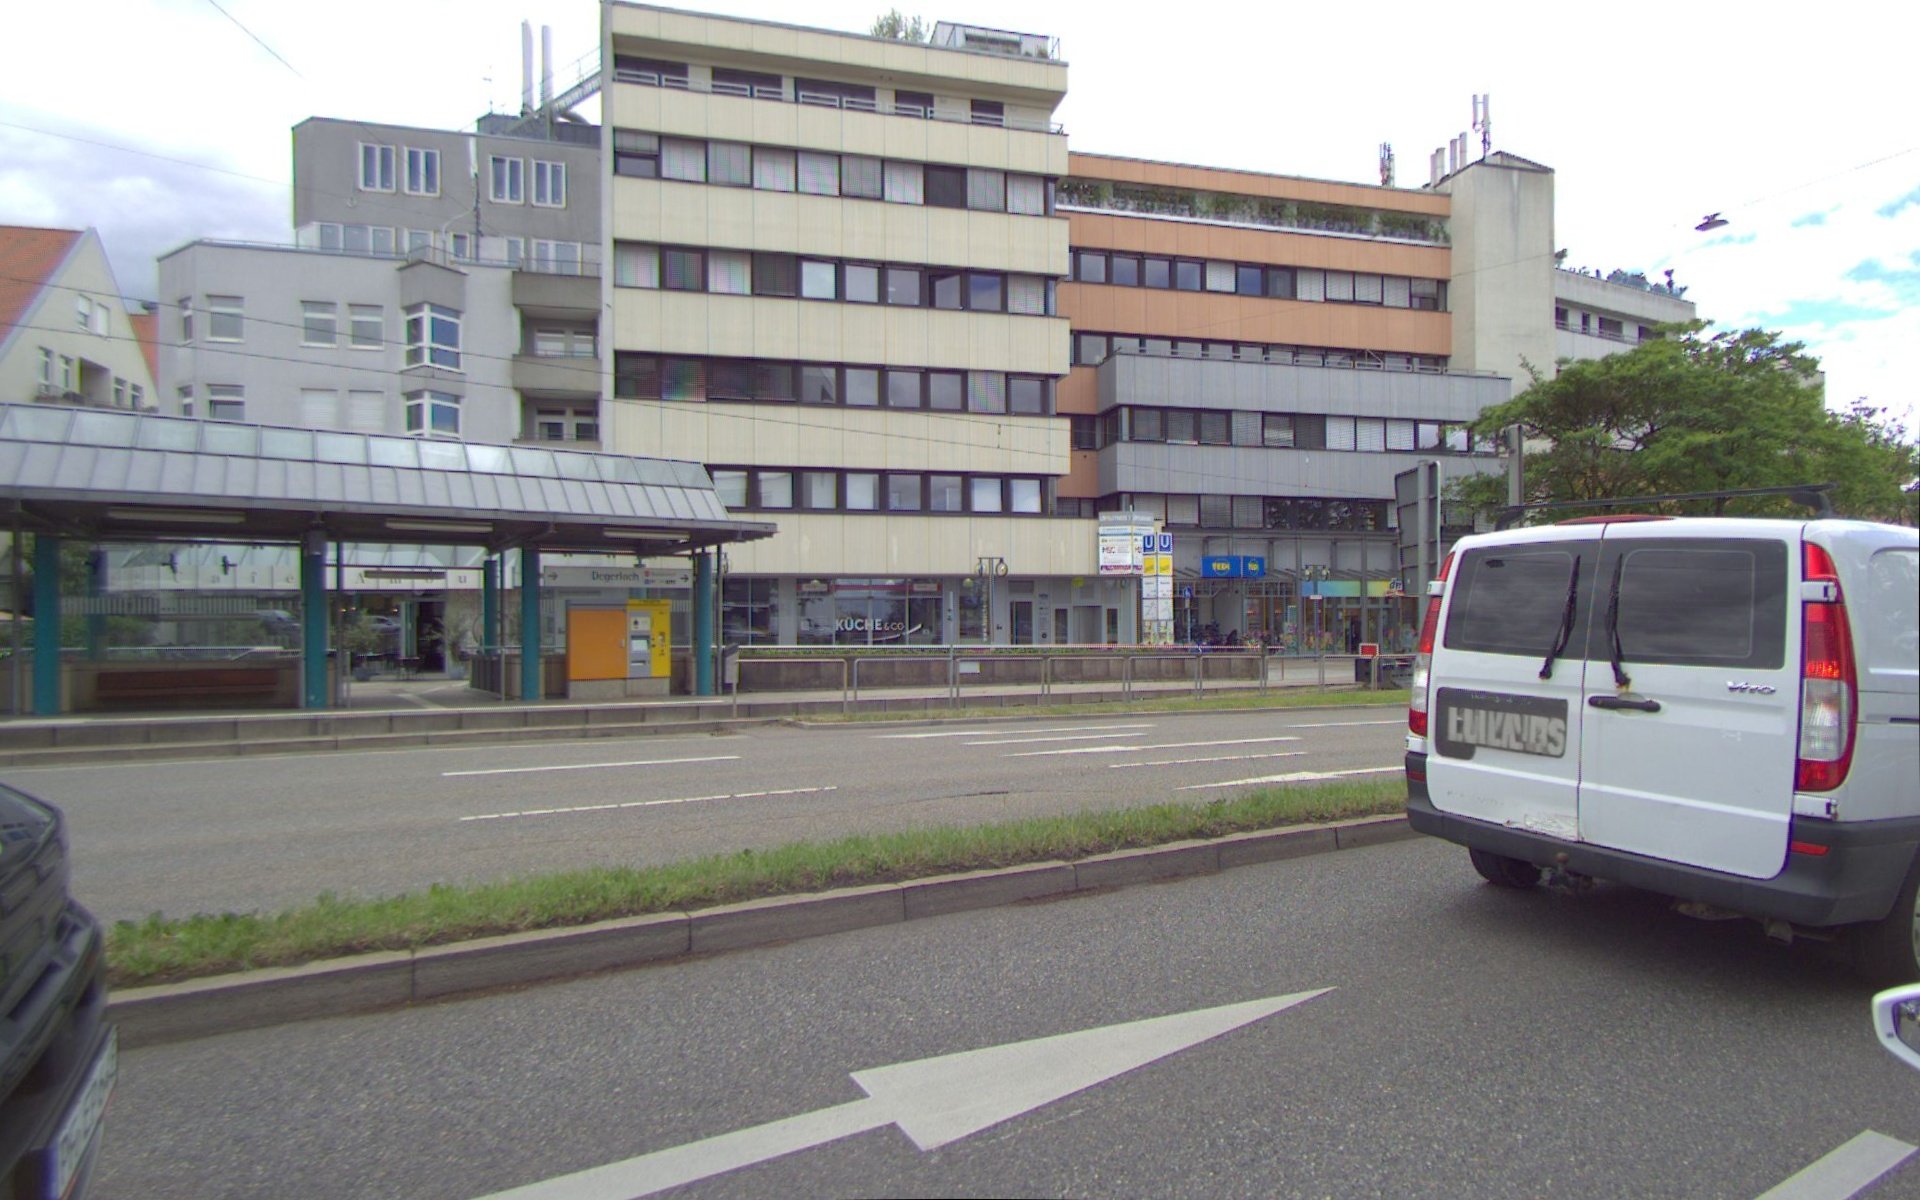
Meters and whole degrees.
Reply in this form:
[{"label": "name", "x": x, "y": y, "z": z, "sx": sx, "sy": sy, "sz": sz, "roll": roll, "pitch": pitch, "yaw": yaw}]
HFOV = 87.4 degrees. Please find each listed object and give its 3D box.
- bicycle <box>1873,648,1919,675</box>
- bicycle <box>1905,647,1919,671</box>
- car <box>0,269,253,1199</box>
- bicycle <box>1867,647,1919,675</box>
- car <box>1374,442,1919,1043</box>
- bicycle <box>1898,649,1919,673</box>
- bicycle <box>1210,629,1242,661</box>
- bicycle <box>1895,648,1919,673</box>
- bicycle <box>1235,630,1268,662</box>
[{"label": "bicycle", "x": 44.622, "y": 2.904, "z": 47.463, "sx": 0.705, "sy": 1.169, "sz": 2.050, "roll": 2, "pitch": 0, "yaw": -36}, {"label": "bicycle", "x": 47.576, "y": 2.941, "z": 48.983, "sx": 0.705, "sy": 1.169, "sz": 2.050, "roll": 2, "pitch": 2, "yaw": -36}, {"label": "car", "x": -3.367, "y": 0.505, "z": 0.632, "sx": 4.626, "sy": 1.775, "sz": 1.912, "roll": 1, "pitch": 0, "yaw": -32}, {"label": "bicycle", "x": 43.716, "y": 2.841, "z": 46.759, "sx": 0.705, "sy": 1.169, "sz": 2.050, "roll": 2, "pitch": 1, "yaw": -36}, {"label": "car", "x": 4.710, "y": 0.497, "z": 5.508, "sx": 5.018, "sy": 2.041, "sz": 1.863, "roll": 1, "pitch": 2, "yaw": -31}, {"label": "bicycle", "x": 46.738, "y": 2.964, "z": 48.510, "sx": 0.705, "sy": 1.168, "sz": 2.050, "roll": 2, "pitch": -2, "yaw": -36}, {"label": "bicycle", "x": 11.599, "y": 1.956, "z": 43.841, "sx": 0.692, "sy": 1.336, "sz": 1.973, "roll": 1, "pitch": -2, "yaw": -5}, {"label": "bicycle", "x": 45.701, "y": 2.888, "z": 47.522, "sx": 0.705, "sy": 1.169, "sz": 2.050, "roll": 2, "pitch": -1, "yaw": -36}, {"label": "bicycle", "x": 12.657, "y": 1.972, "z": 43.683, "sx": 0.692, "sy": 1.336, "sz": 1.973, "roll": 1, "pitch": -2, "yaw": -5}]
